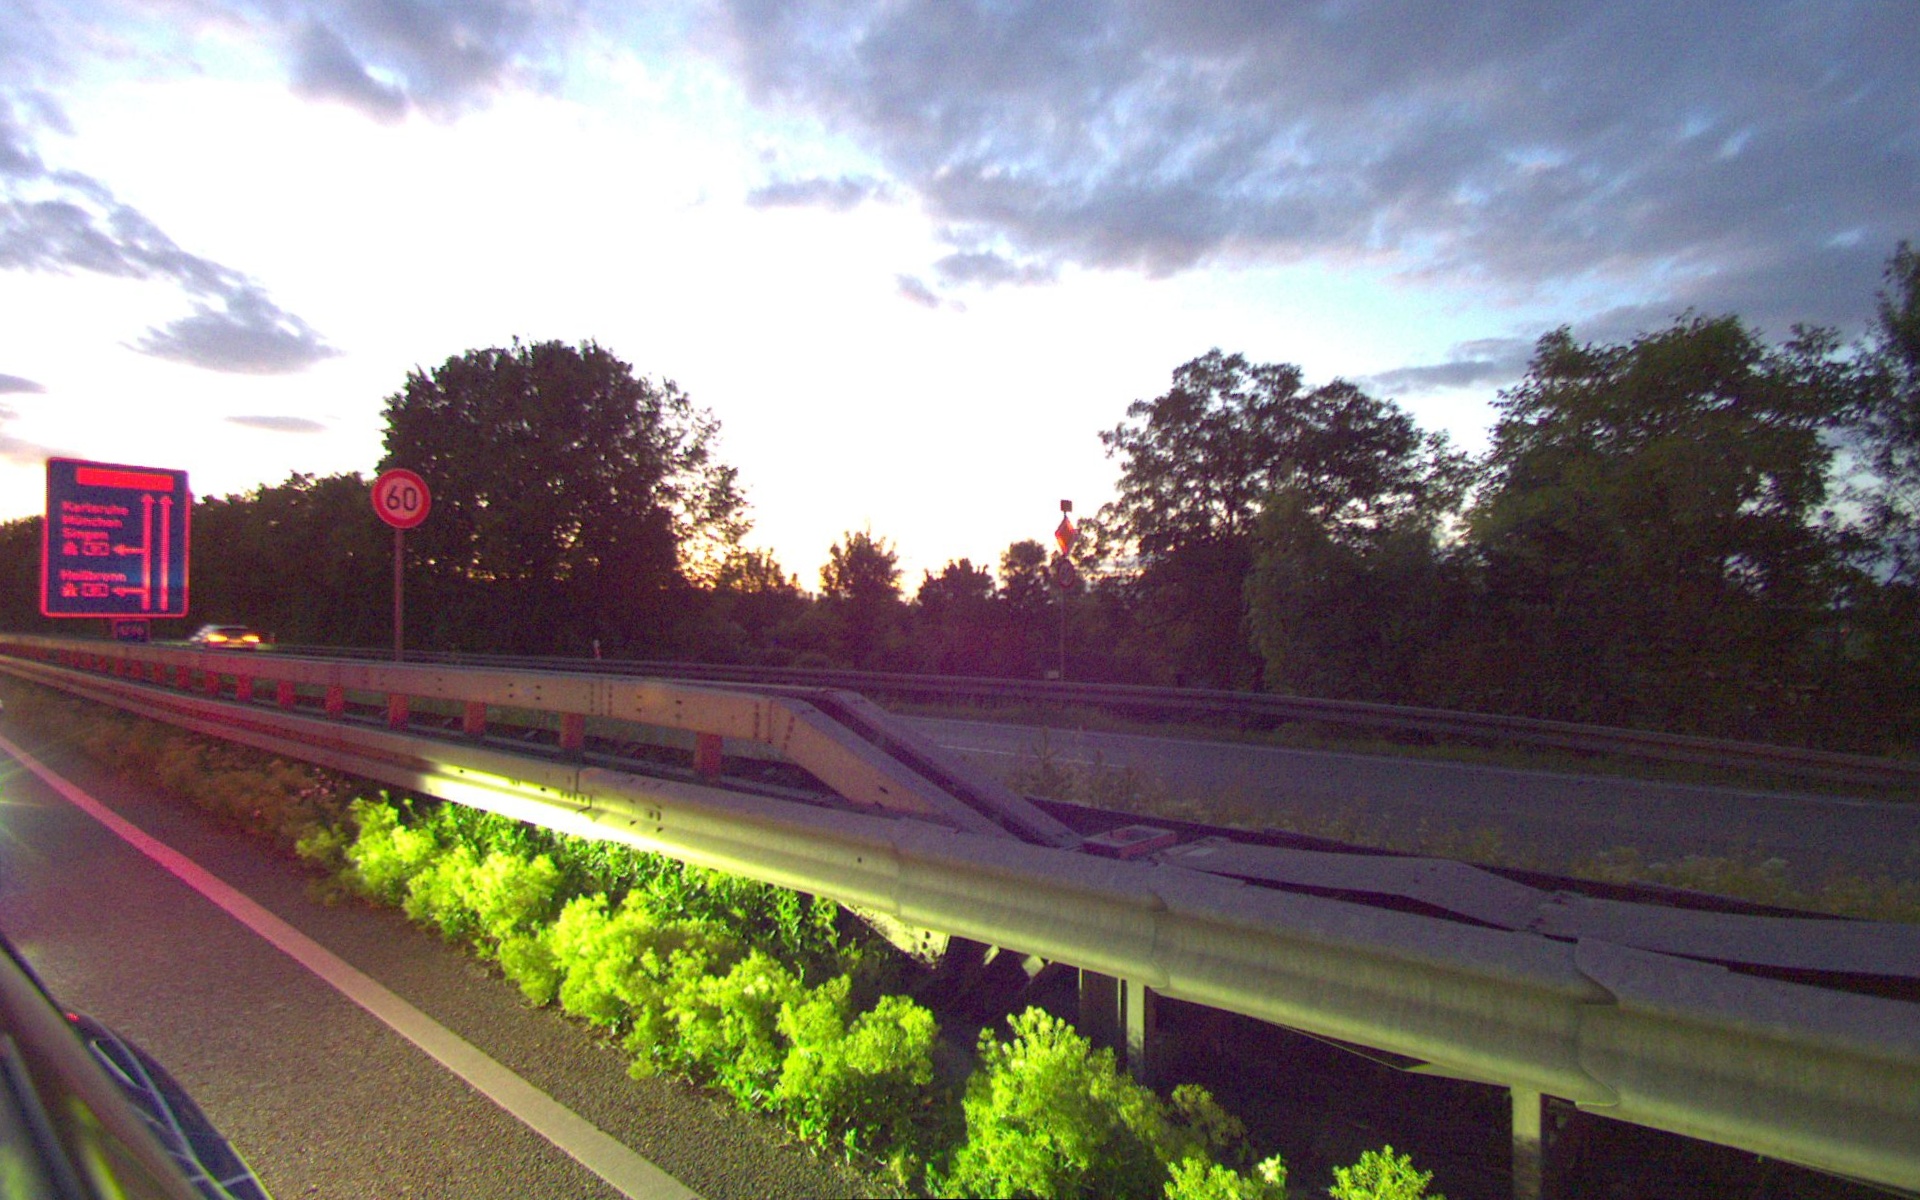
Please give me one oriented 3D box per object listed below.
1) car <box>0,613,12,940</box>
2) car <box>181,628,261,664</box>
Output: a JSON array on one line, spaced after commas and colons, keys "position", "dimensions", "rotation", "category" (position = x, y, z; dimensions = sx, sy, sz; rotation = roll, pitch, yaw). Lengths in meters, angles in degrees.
[{"position": [-6.676, 0.847, 5.399], "dimensions": [4.511, 1.492, 1.877], "rotation": [-1, -1, 40], "category": "car"}, {"position": [-32.878, 2.013, 44.983], "dimensions": [4.295, 1.530, 1.973], "rotation": [-2, -2, 41], "category": "car"}]
